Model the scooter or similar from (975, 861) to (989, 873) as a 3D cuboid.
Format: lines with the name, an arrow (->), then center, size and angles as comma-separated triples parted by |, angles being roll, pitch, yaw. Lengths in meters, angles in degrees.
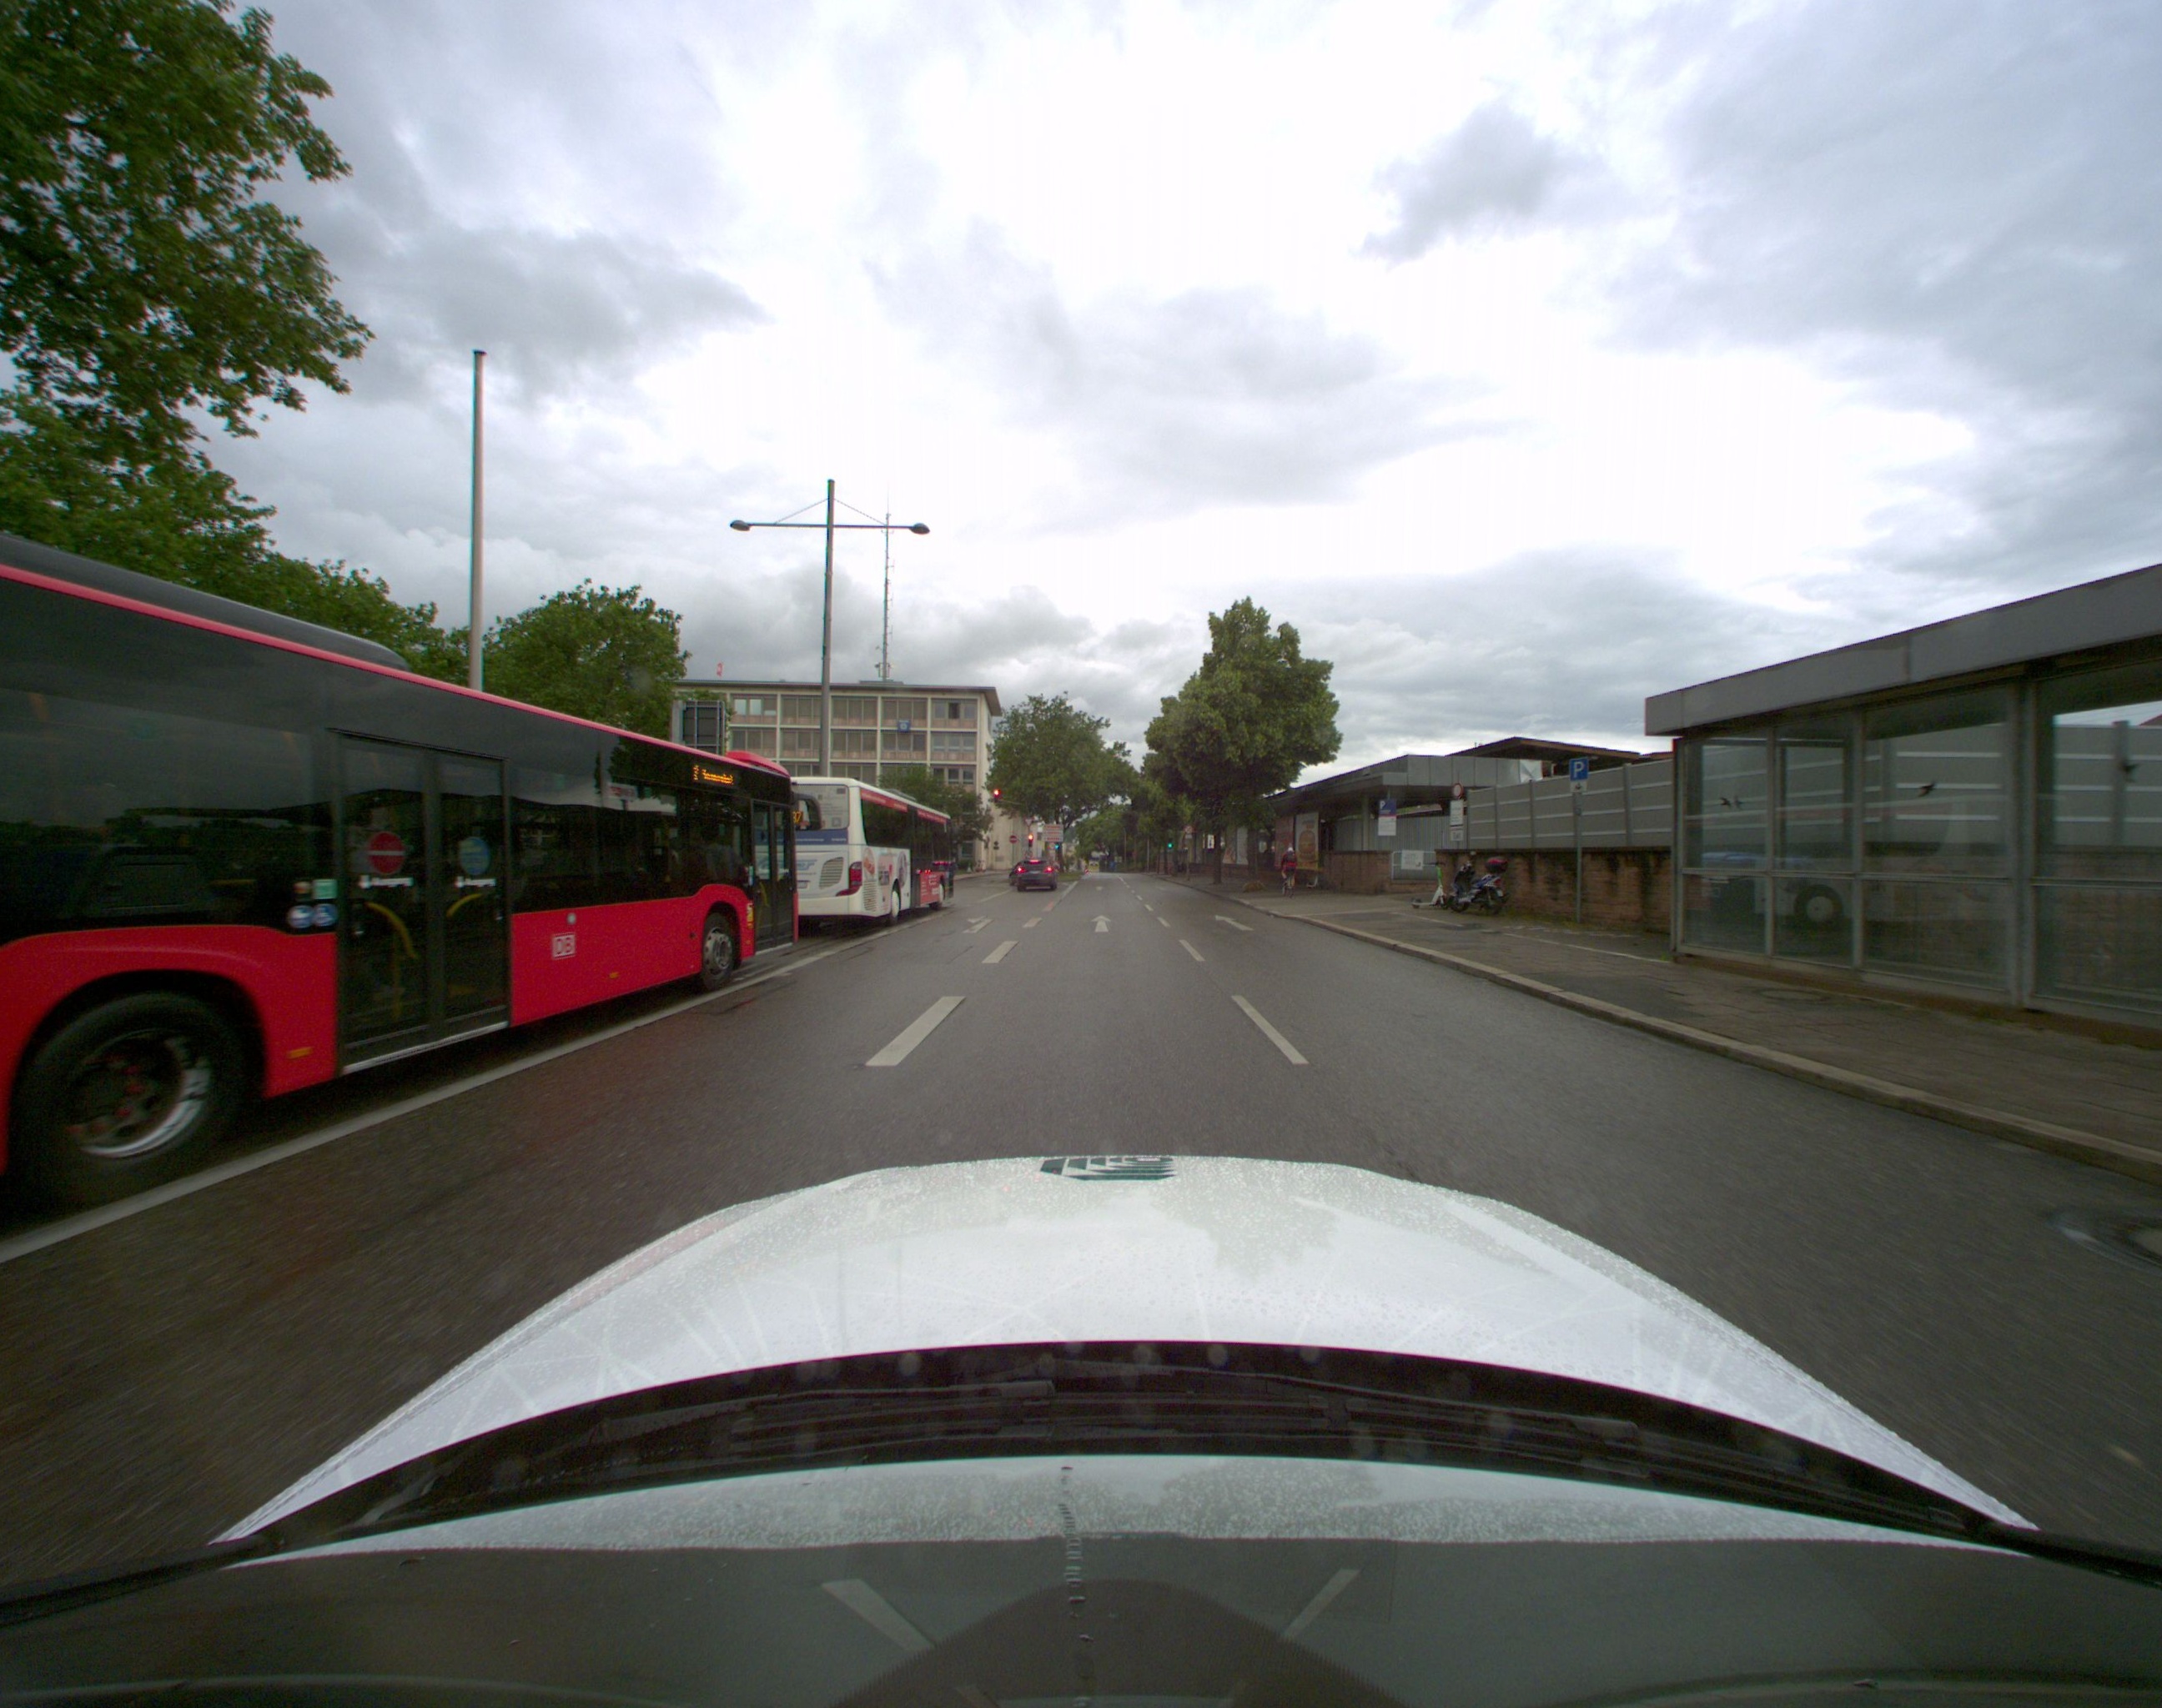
scooter or similar -> -10.441, 1.376, 85.575 | 0.601, 1.192, 1.538 | -1, -1, 34

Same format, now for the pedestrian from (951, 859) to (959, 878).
pedestrian -> -10.902, 1.262, 70.627 | 0.653, 1.603, 0.921 | -1, -1, -11

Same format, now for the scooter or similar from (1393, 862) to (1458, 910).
scooter or similar -> 8.579, 0.775, 20.350 | 0.494, 1.153, 1.704 | 0, -1, -19

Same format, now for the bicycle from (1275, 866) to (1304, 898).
bicycle -> 7.045, 0.938, 27.580 | 0.445, 1.016, 1.676 | -3, -1, -1

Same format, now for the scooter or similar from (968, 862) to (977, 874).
scooter or similar -> -10.655, 1.388, 80.324 | 0.567, 1.192, 1.576 | -1, -1, 4

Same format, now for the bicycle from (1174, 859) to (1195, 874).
bicycle -> 8.555, 1.061, 67.440 | 1.703, 1.249, 0.489 | -1, -1, 32

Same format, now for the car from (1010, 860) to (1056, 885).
car -> -2.861, 1.059, 47.640 | 1.819, 1.409, 4.391 | -1, -1, -15

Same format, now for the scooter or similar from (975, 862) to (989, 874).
scooter or similar -> -10.261, 1.435, 84.257 | 0.601, 1.192, 1.538 | -1, -1, 34

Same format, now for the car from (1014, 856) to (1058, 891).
car -> -2.154, 0.946, 40.439 | 1.958, 1.640, 4.357 | -1, -1, -1

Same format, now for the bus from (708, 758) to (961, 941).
bus -> -5.584, -0.056, 21.704 | 2.946, 3.439, 12.555 | -1, 0, 0

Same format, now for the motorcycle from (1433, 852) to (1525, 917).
motorcycle -> 8.805, 0.645, 18.162 | 0.789, 1.348, 2.455 | -1, 0, -1

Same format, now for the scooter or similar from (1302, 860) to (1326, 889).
scooter or similar -> 9.509, 0.817, 33.221 | 0.491, 1.153, 1.544 | -1, -1, -2

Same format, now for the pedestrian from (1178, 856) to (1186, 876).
pedestrian -> 8.319, 0.990, 67.064 | 0.452, 1.568, 0.396 | -1, -1, 32

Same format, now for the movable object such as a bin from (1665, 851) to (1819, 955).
movable object such as a bin -> 9.055, 0.636, 11.232 | 1.031, 1.338, 1.317 | -1, 0, -1

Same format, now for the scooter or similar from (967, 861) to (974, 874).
scooter or similar -> -10.675, 1.288, 78.710 | 0.487, 1.167, 1.500 | 0, -1, -3

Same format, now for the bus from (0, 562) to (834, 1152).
bus -> -5.513, 0.032, 8.779 | 2.742, 3.132, 8.845 | -1, 0, 1

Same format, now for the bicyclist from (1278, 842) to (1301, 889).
bicyclist -> 7.058, 0.381, 27.538 | 0.532, 1.538, 0.694 | -2, -1, -2

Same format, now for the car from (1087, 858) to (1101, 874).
car -> 2.226, 2.034, 141.854 | 2.257, 2.656, 3.998 | -1, 0, -1
